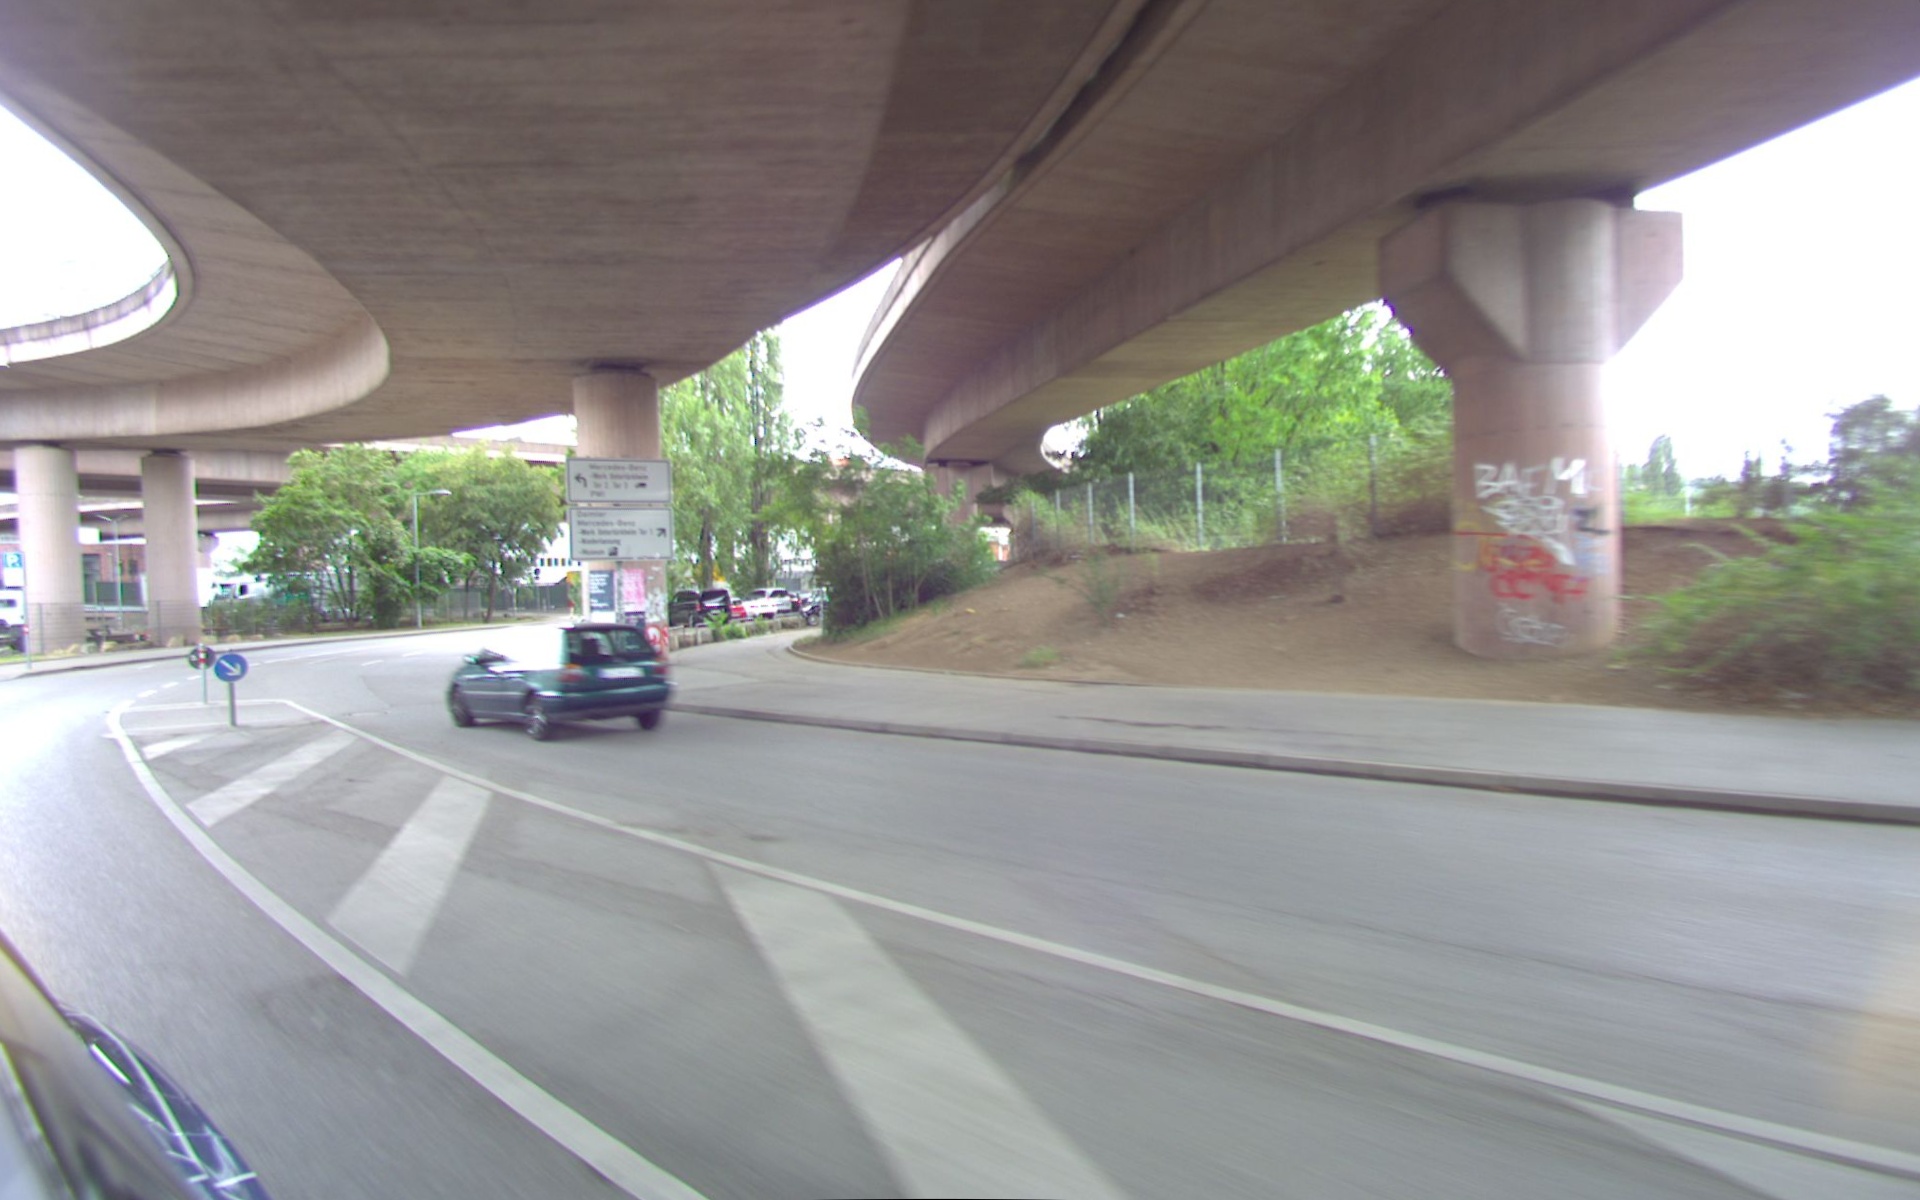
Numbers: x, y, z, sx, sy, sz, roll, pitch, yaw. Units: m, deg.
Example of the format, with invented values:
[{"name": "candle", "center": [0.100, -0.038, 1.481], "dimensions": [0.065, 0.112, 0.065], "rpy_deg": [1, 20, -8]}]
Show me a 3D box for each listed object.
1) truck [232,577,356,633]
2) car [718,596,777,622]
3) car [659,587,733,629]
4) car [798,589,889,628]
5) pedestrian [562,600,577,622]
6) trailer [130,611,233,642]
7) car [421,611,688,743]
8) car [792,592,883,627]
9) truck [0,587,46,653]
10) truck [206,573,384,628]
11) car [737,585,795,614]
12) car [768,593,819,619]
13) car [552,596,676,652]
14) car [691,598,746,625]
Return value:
[{"name": "truck", "center": [-43.298, 0.261, 66.004], "dimensions": [2.265, 3.434, 6.340], "rpy_deg": [0, 1, 33]}, {"name": "car", "center": [-12.248, 0.474, 58.164], "dimensions": [1.668, 1.374, 4.528], "rpy_deg": [-2, 1, -35]}, {"name": "car", "center": [-13.363, 0.374, 50.984], "dimensions": [1.827, 1.931, 4.985], "rpy_deg": [-2, 1, -36]}, {"name": "car", "center": [-5.629, 0.391, 49.101], "dimensions": [3.995, 1.720, 1.740], "rpy_deg": [-2, 1, -34]}, {"name": "pedestrian", "center": [-30.792, 0.836, 79.848], "dimensions": [0.745, 1.693, 0.853], "rpy_deg": [-1, 1, 8]}, {"name": "trailer", "center": [-39.004, 1.286, 50.847], "dimensions": [1.585, 1.341, 4.377], "rpy_deg": [-1, 1, 4]}, {"name": "car", "center": [-5.467, 0.913, 13.411], "dimensions": [3.999, 1.441, 1.659], "rpy_deg": [-1, 1, 42]}, {"name": "car", "center": [-5.643, 0.419, 46.619], "dimensions": [3.802, 1.475, 1.544], "rpy_deg": [-2, 1, -26]}, {"name": "truck", "center": [-41.181, 0.882, 41.637], "dimensions": [2.383, 2.764, 7.257], "rpy_deg": [-2, 0, -17]}, {"name": "truck", "center": [-45.050, -0.091, 69.046], "dimensions": [2.263, 3.524, 10.109], "rpy_deg": [0, 1, 31]}, {"name": "car", "center": [-12.043, -0.071, 62.611], "dimensions": [1.668, 1.686, 4.688], "rpy_deg": [-2, 2, -36]}, {"name": "car", "center": [-10.582, 0.349, 64.252], "dimensions": [1.668, 1.547, 3.637], "rpy_deg": [-2, 2, -36]}, {"name": "car", "center": [-10.585, 0.690, 31.385], "dimensions": [1.805, 1.441, 4.767], "rpy_deg": [-4, 0, 5]}, {"name": "car", "center": [-13.078, 0.588, 54.763], "dimensions": [1.539, 1.390, 3.714], "rpy_deg": [-2, 1, -36]}]
